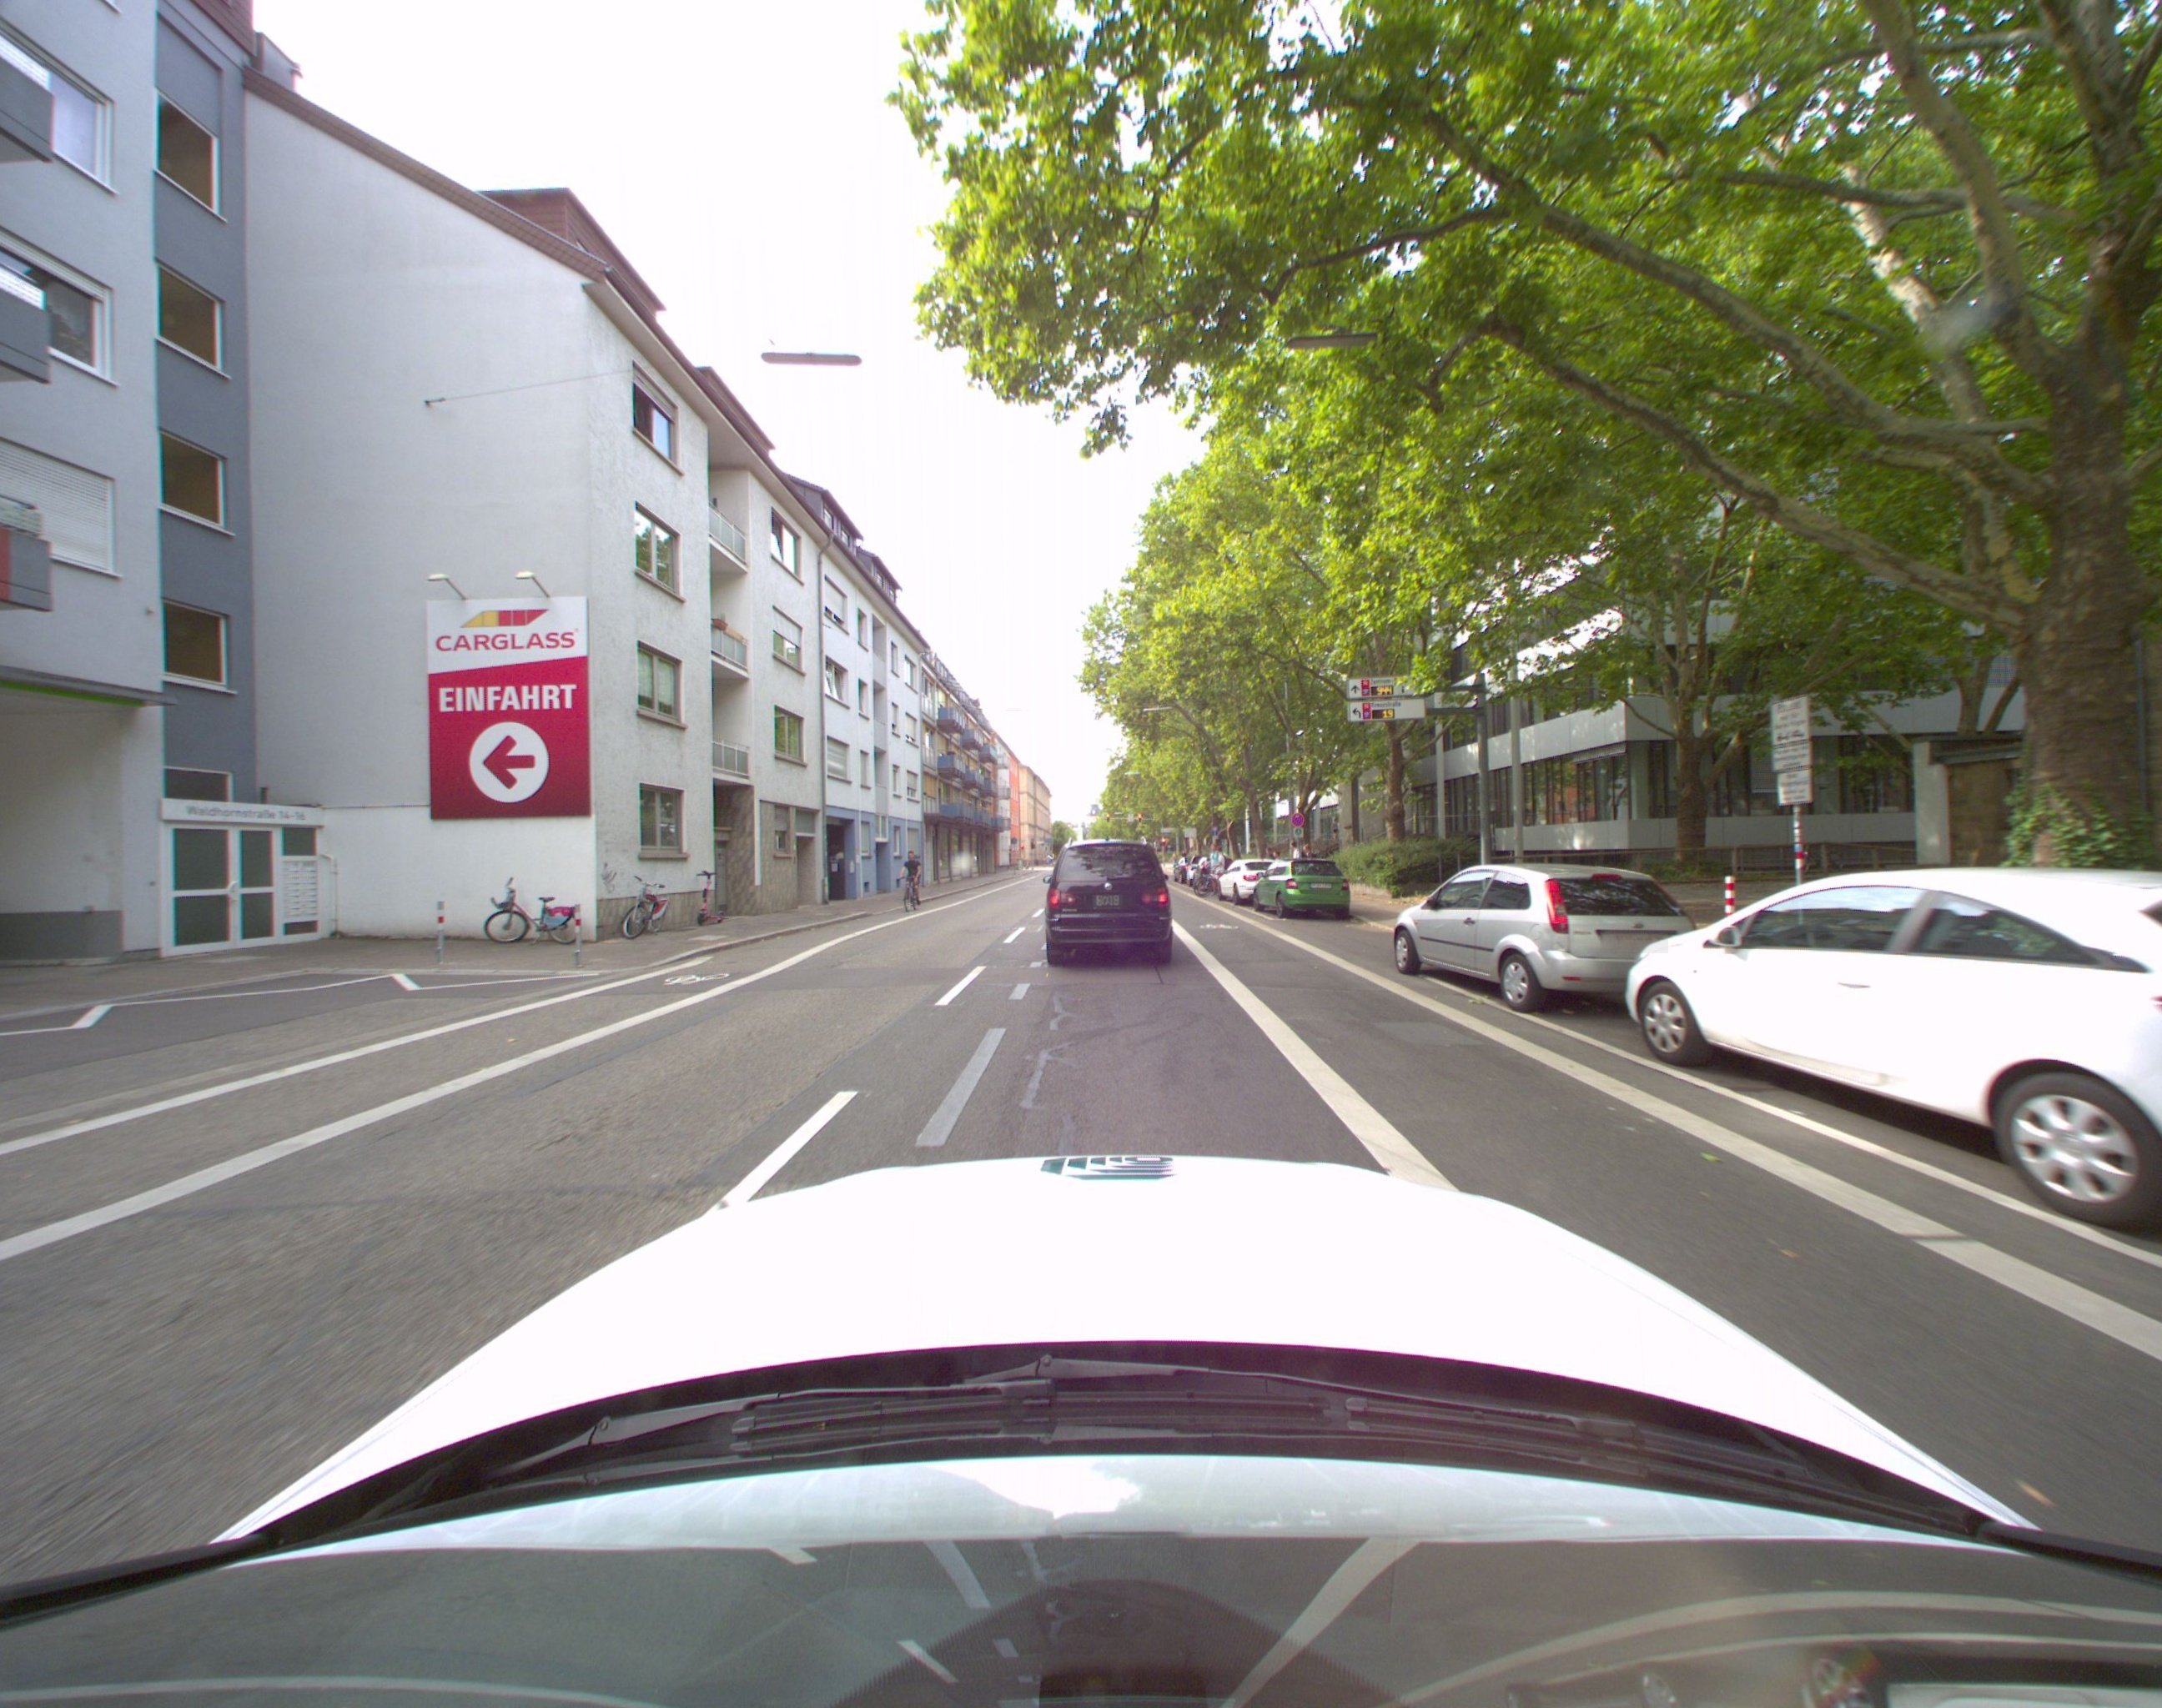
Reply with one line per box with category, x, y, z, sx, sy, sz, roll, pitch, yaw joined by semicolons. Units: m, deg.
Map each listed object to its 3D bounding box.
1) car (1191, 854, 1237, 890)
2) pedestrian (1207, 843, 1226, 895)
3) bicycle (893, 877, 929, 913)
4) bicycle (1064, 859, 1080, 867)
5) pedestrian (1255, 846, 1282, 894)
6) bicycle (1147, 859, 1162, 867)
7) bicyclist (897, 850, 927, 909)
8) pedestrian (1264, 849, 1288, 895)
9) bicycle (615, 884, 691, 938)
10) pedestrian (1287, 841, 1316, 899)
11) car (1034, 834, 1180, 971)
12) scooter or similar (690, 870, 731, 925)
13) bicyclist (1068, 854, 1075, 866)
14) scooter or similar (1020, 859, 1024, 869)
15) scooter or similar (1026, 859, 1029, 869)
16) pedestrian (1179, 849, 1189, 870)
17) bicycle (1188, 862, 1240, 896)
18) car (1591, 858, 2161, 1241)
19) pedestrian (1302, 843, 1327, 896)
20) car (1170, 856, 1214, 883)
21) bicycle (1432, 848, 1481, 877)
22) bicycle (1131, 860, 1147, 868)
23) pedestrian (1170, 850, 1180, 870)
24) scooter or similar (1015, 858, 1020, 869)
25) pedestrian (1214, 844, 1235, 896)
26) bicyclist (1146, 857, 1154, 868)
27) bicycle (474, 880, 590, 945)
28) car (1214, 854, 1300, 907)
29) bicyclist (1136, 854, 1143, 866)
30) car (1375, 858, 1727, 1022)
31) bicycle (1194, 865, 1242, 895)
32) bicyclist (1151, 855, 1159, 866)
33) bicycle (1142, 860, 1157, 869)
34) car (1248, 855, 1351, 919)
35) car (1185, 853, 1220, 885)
car;5.746;0.758;35.541;1.522;1.502;3.661;0;0;2
pedestrian;5.103;0.550;30.673;0.475;1.934;0.742;0;0;-10
bicycle;-5.385;1.286;25.953;0.643;1.014;2.077;-2;0;1
bicycle;-1.130;1.100;100.546;1.923;1.028;0.582;0;0;-7
pedestrian;7.081;0.597;30.829;0.868;1.816;0.780;0;0;1
bicycle;9.837;1.224;109.068;1.926;1.028;0.581;0;0;-12
bicyclist;-5.406;0.801;26.059;0.649;1.811;1.046;-2;-1;1
pedestrian;7.188;0.660;30.046;0.718;1.658;0.655;0;0;1
bicycle;-8.435;1.101;16.117;0.595;0.950;1.663;0;0;1
pedestrian;7.669;0.546;28.348;0.790;1.997;0.750;0;0;1
car;0.349;0.621;12.860;1.868;1.745;4.573;-1;0;0
scooter or similar;-8.550;0.983;18.825;0.348;1.221;1.202;0;0;1
bicyclist;-1.177;0.735;100.552;0.854;1.567;0.576;0;-1;-7
scooter or similar;-6.826;1.150;94.099;0.377;1.147;1.141;-1;-2;-2
scooter or similar;-6.209;1.149;94.535;0.377;1.144;1.141;-1;-2;-2
pedestrian;9.146;0.468;72.331;0.712;1.800;1.033;-3;-1;0
bicycle;4.838;0.902;29.611;1.793;1.217;0.550;0;0;-17
car;5.076;0.768;4.697;1.747;1.447;4.220;1;0;2
pedestrian;8.332;0.545;29.072;0.718;1.855;0.704;0;0;1
car;5.999;0.804;44.398;1.693;1.425;4.420;0;0;-1
bicycle;15.133;0.336;32.849;1.671;1.117;0.603;-2;0;-5
bicycle;7.650;1.281;107.494;1.924;1.028;0.581;0;0;-9
pedestrian;8.331;0.532;72.393;0.708;1.783;1.033;-3;-1;0
scooter or similar;-6.819;1.063;87.738;0.376;1.184;1.390;-1;-2;1
pedestrian;5.174;0.584;29.400;0.520;1.845;0.741;0;0;-14
bicyclist;9.018;1.064;106.207;0.914;1.466;0.568;0;0;-9
bicycle;-9.823;1.040;14.597;1.765;1.117;0.453;0;0;1
car;5.473;0.766;25.833;1.675;1.516;4.542;1;0;-1
bicyclist;7.721;0.799;107.512;0.914;1.466;0.568;0;0;-9
car;4.946;0.783;9.273;1.639;1.447;3.878;1;0;-3
bicycle;5.199;0.967;30.943;1.734;1.105;0.550;0;0;-10
bicyclist;9.873;0.907;109.071;0.915;1.466;0.568;0;0;-11
bicycle;8.947;1.366;106.194;1.924;1.028;0.581;0;0;-9
car;5.504;0.778;20.940;1.582;1.450;3.804;1;0;-1
car;5.983;0.736;40.378;1.529;1.543;2.602;0;0;4
